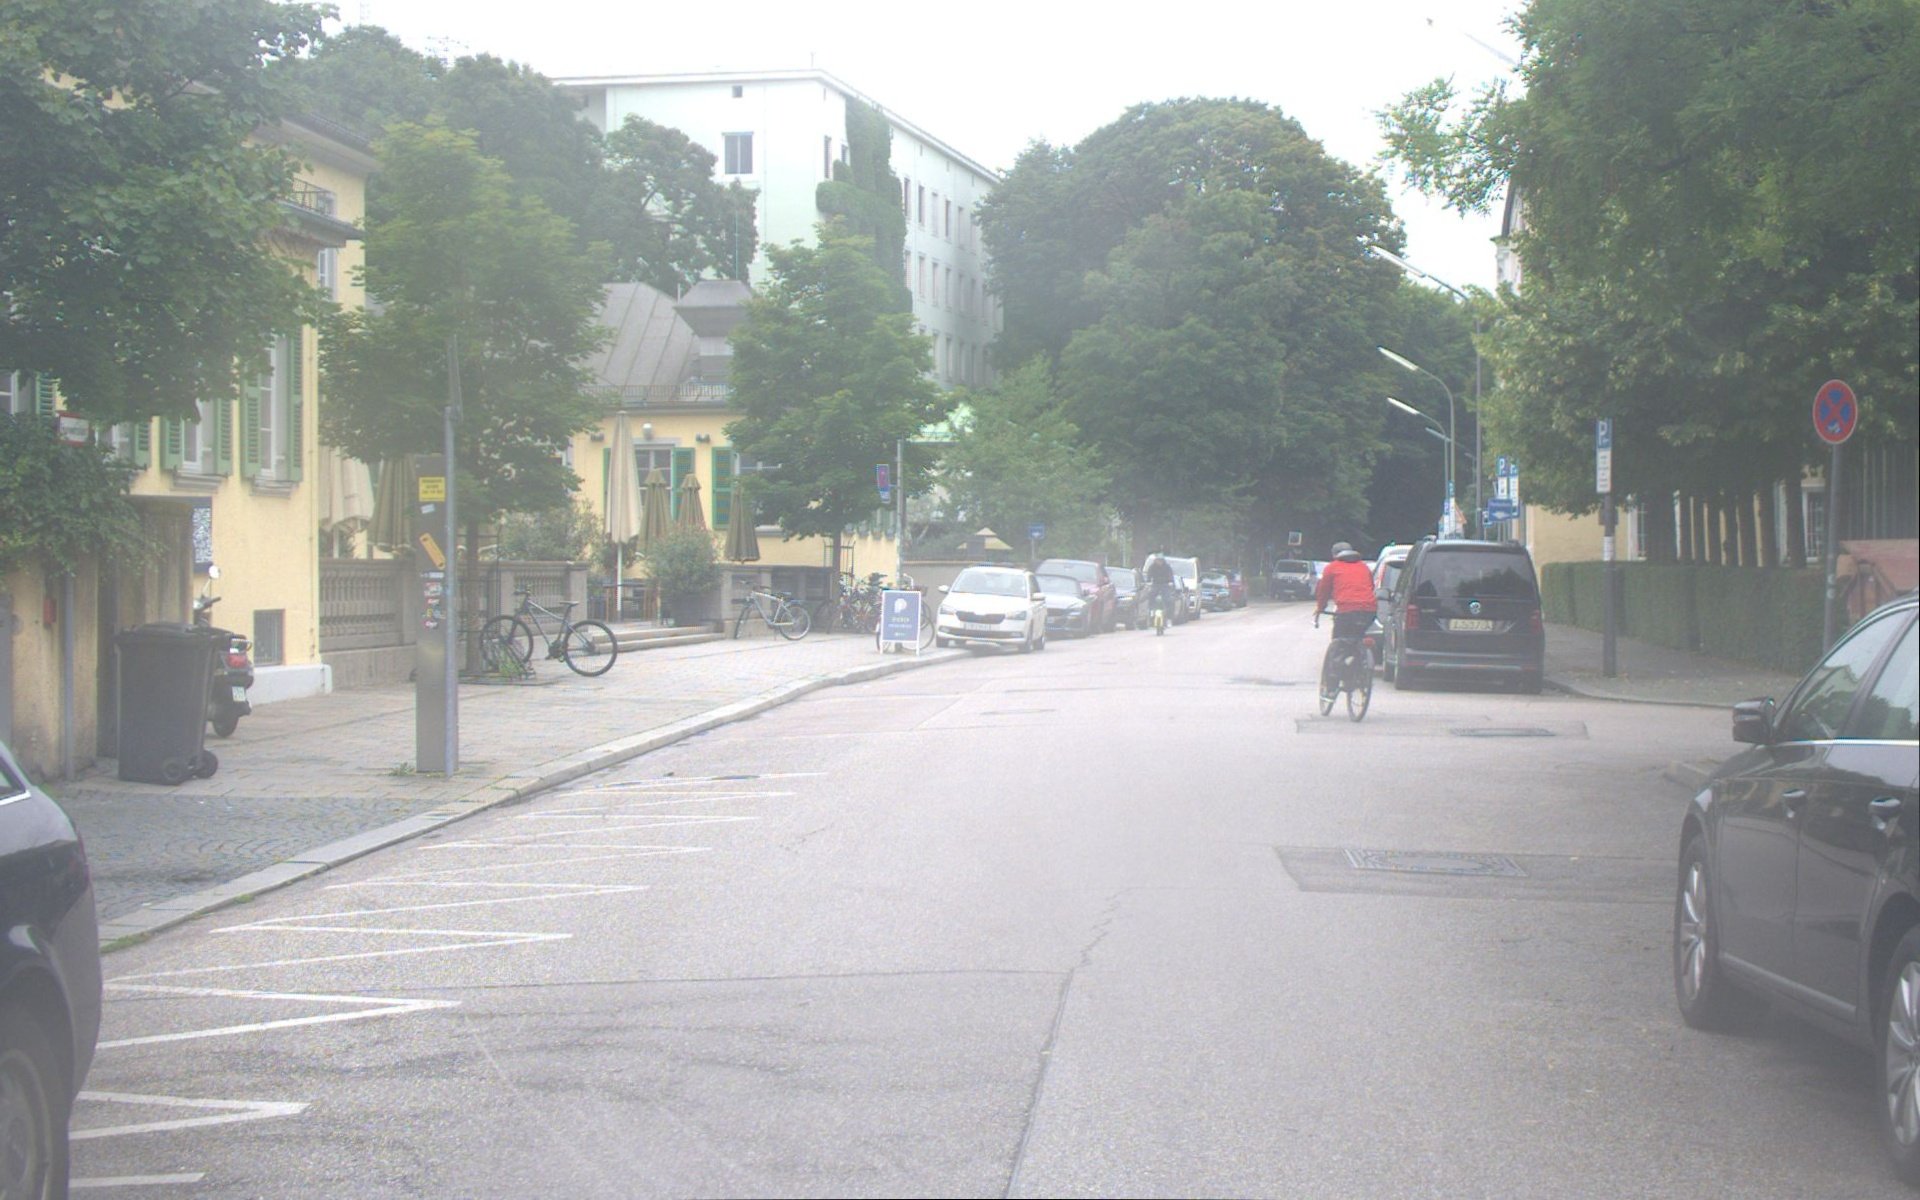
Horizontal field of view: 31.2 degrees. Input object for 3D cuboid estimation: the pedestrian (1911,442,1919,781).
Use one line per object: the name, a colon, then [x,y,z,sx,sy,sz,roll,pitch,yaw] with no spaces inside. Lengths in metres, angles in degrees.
pedestrian: [6.372,0.077,21.216,0.742,2.127,1.056,-1,0,3]

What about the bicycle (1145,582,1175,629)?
bicycle: [4.341,0.112,74.717,0.621,1.001,2.140,0,1,3]

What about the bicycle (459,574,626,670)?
bicycle: [-5.168,0.266,42.589,1.931,1.095,0.614,2,1,7]

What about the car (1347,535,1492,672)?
car: [6.246,0.012,47.085,1.863,1.787,4.508,0,1,6]

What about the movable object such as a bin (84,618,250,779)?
movable object such as a bin: [-5.447,0.671,23.645,0.935,1.060,0.840,0,1,1]

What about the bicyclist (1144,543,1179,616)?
bicyclist: [4.387,-0.446,74.837,0.743,1.570,0.977,0,1,4]

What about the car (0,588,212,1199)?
car: [-2.976,0.765,5.809,1.994,1.485,4.882,-1,1,4]

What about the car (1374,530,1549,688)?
car: [6.112,0.076,42.258,1.761,1.817,4.139,1,1,4]

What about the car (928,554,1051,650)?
car: [0.557,0.008,61.627,1.734,1.576,3.787,3,1,7]

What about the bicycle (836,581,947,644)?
bicycle: [-1.134,0.214,57.227,0.623,1.001,2.135,4,2,37]

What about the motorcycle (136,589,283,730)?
motorcycle: [-6.269,0.481,28.654,0.557,1.097,1.838,1,1,-33]

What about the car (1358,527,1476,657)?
car: [7.061,-0.150,53.246,1.750,1.936,4.226,0,1,7]

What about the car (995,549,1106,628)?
car: [1.982,-0.264,74.143,1.994,1.643,4.654,0,1,6]

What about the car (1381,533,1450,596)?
car: [15.336,-1.207,115.862,1.994,2.053,4.623,1,1,4]

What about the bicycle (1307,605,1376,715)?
bicycle: [3.572,0.555,32.177,0.621,1.001,2.139,0,-1,6]

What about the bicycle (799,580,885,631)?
bicycle: [-2.339,0.114,68.144,1.613,1.001,0.623,0,-1,-30]

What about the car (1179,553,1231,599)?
car: [9.136,-0.895,128.036,1.810,1.677,3.999,0,1,6]

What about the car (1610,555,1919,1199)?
car: [3.154,0.665,9.562,1.771,1.485,4.974,3,1,1]

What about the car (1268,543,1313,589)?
car: [15.901,-1.633,165.331,1.994,2.091,3.999,3,1,6]

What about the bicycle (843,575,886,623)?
bicycle: [-2.043,-0.021,73.567,0.622,1.001,1.618,1,-1,9]

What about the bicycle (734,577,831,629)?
bicycle: [-3.187,0.050,61.750,1.613,0.922,0.651,0,-1,-21]

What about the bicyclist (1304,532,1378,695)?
bicyclist: [3.563,0.129,32.081,0.672,1.492,1.094,0,-1,7]

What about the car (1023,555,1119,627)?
car: [2.581,-0.190,79.196,1.994,1.597,3.999,1,0,5]
